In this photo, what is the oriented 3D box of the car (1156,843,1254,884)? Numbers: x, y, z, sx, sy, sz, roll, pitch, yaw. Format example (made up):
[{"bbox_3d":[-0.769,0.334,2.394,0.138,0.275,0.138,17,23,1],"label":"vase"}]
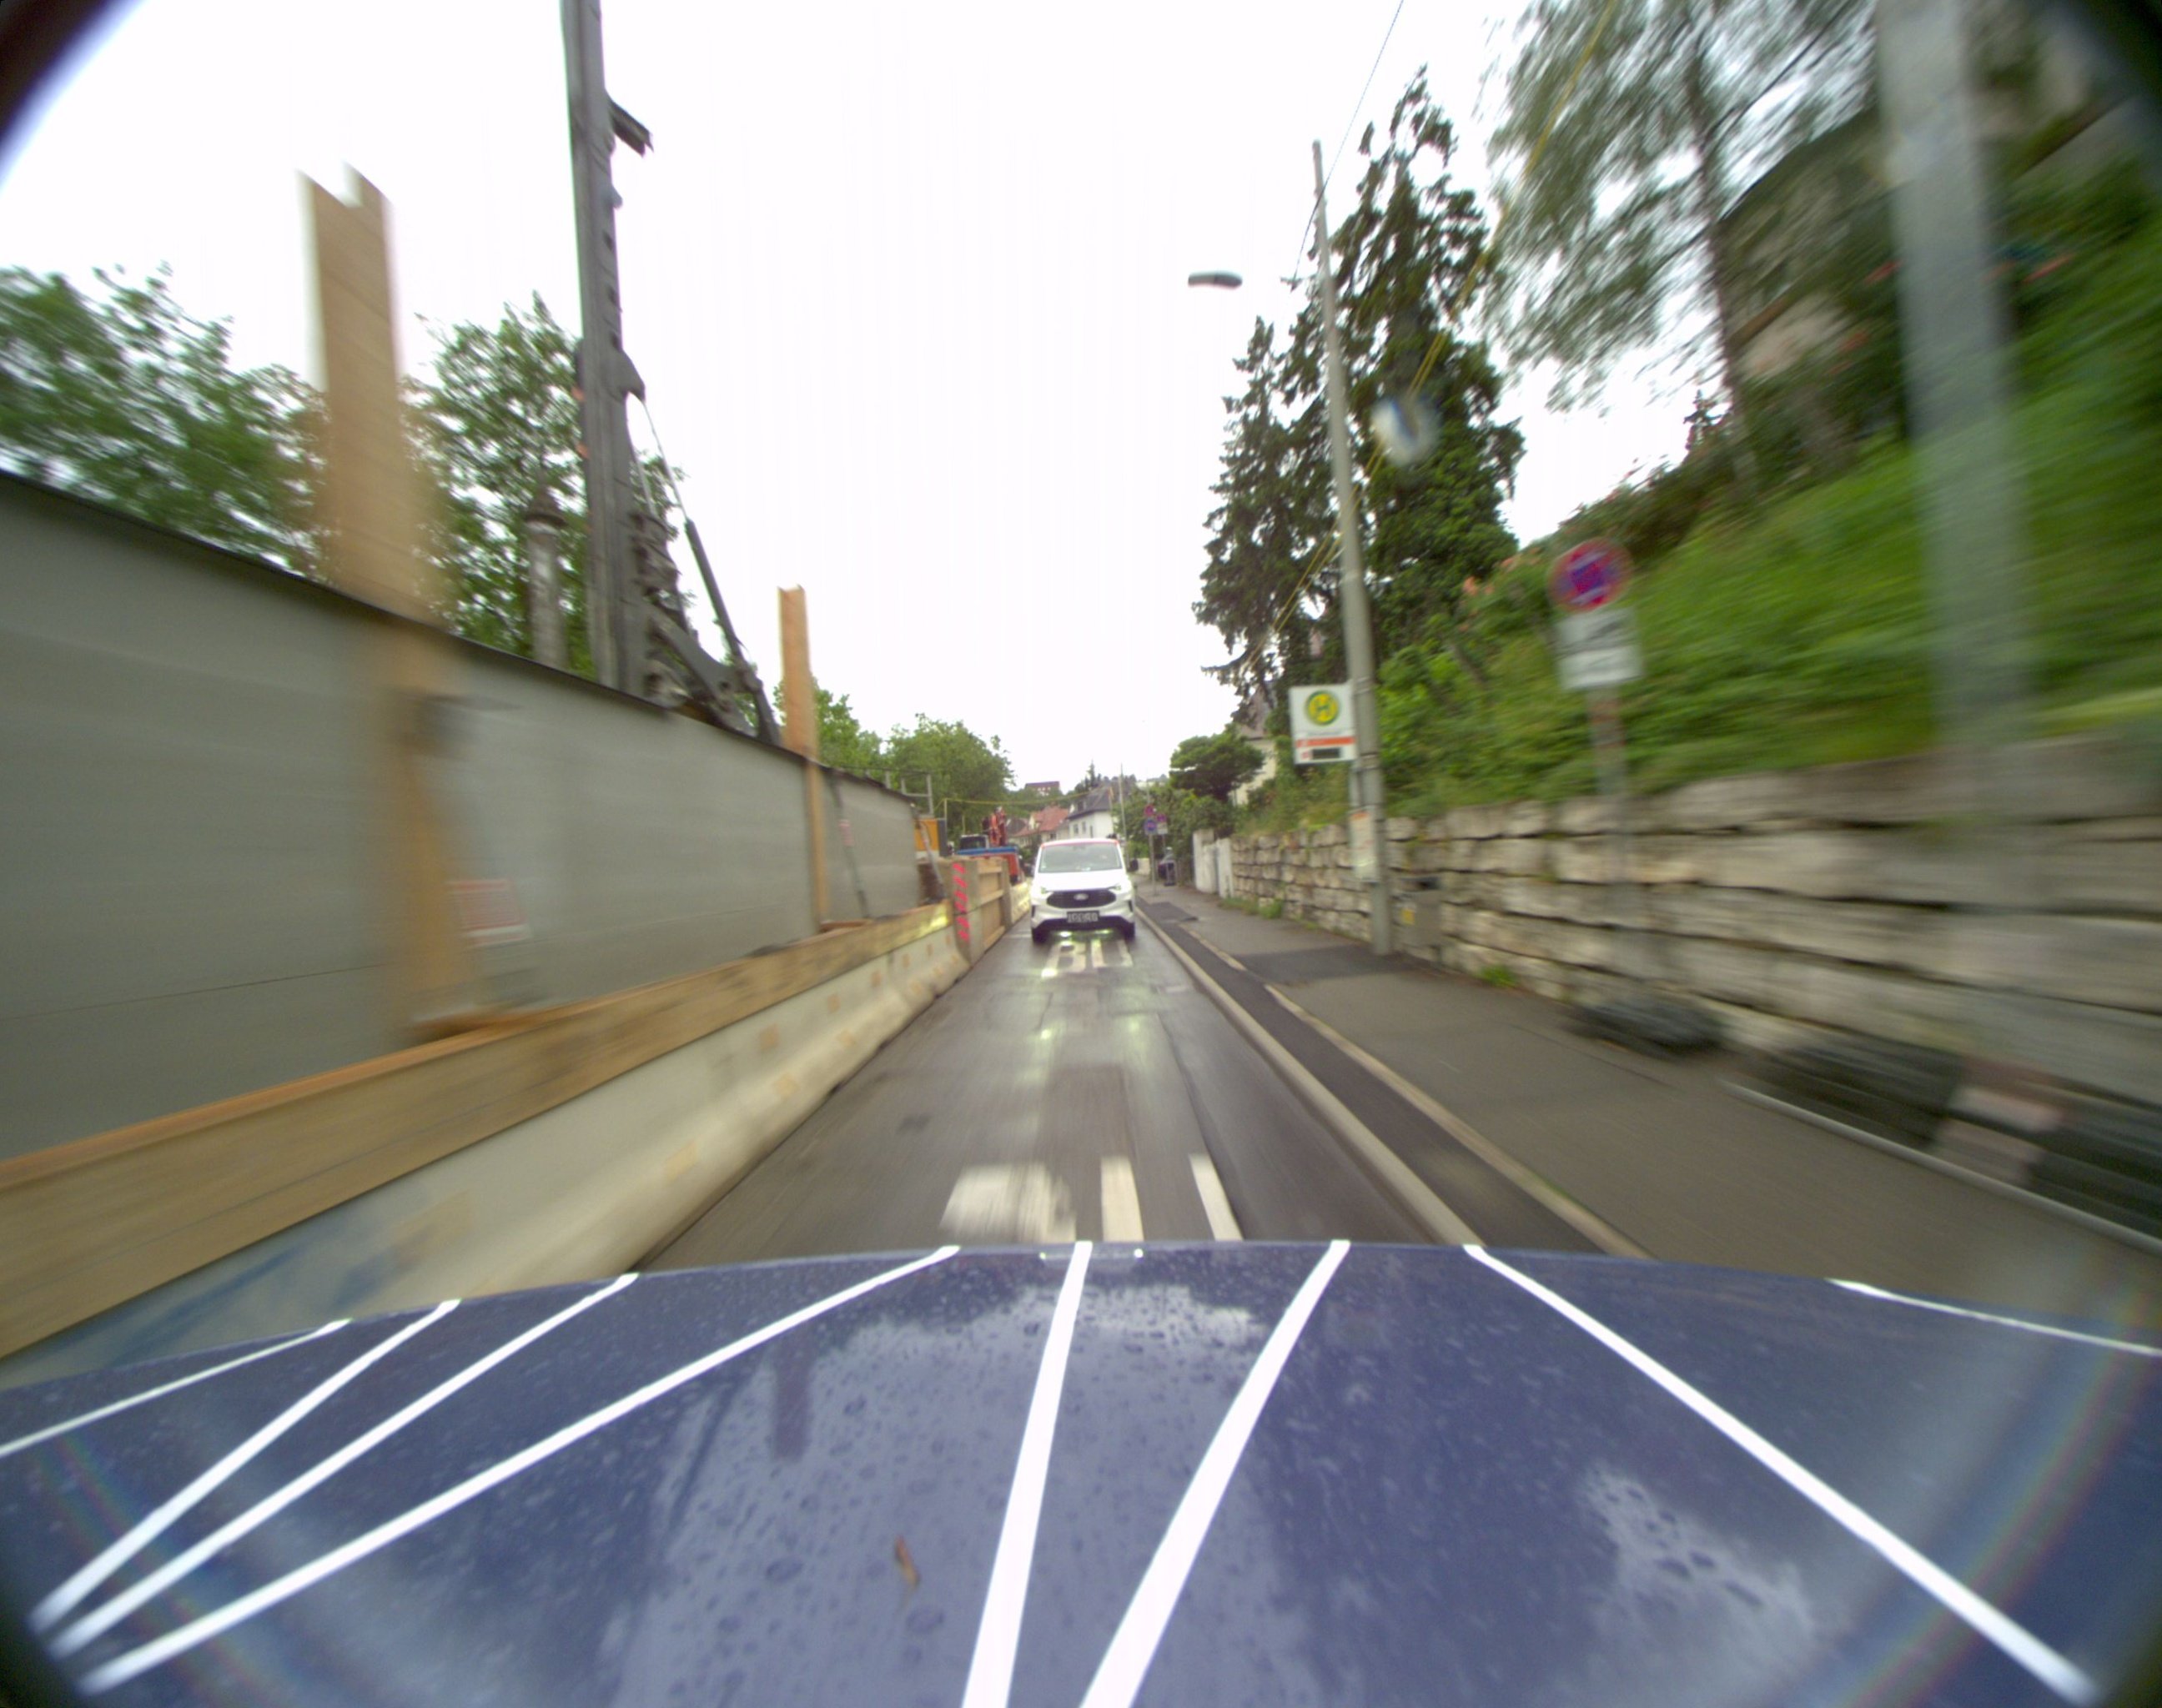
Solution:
[{"bbox_3d":[5.506,0.449,34.199,1.789,1.517,3.990,-6,1,-42],"label":"car"}]

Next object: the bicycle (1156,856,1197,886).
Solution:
[{"bbox_3d":[4.106,0.728,32.711,1.621,1.124,0.443,-5,1,14],"label":"bicycle"}]

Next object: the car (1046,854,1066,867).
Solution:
[{"bbox_3d":[-3.446,0.954,104.175,1.899,1.485,3.795,-4,-2,-12],"label":"car"}]

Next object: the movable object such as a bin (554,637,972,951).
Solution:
[{"bbox_3d":[-6.140,-1.011,16.213,3.685,5.037,7.174,-3,1,29],"label":"movable object such as a bin"}]

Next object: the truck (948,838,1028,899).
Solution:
[{"bbox_3d":[-3.526,0.504,29.431,2.557,2.096,3.303,-3,1,0],"label":"truck"}]

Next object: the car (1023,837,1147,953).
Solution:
[{"bbox_3d":[-0.069,0.706,16.170,2.046,1.883,5.207,-5,1,-3],"label":"car"}]
